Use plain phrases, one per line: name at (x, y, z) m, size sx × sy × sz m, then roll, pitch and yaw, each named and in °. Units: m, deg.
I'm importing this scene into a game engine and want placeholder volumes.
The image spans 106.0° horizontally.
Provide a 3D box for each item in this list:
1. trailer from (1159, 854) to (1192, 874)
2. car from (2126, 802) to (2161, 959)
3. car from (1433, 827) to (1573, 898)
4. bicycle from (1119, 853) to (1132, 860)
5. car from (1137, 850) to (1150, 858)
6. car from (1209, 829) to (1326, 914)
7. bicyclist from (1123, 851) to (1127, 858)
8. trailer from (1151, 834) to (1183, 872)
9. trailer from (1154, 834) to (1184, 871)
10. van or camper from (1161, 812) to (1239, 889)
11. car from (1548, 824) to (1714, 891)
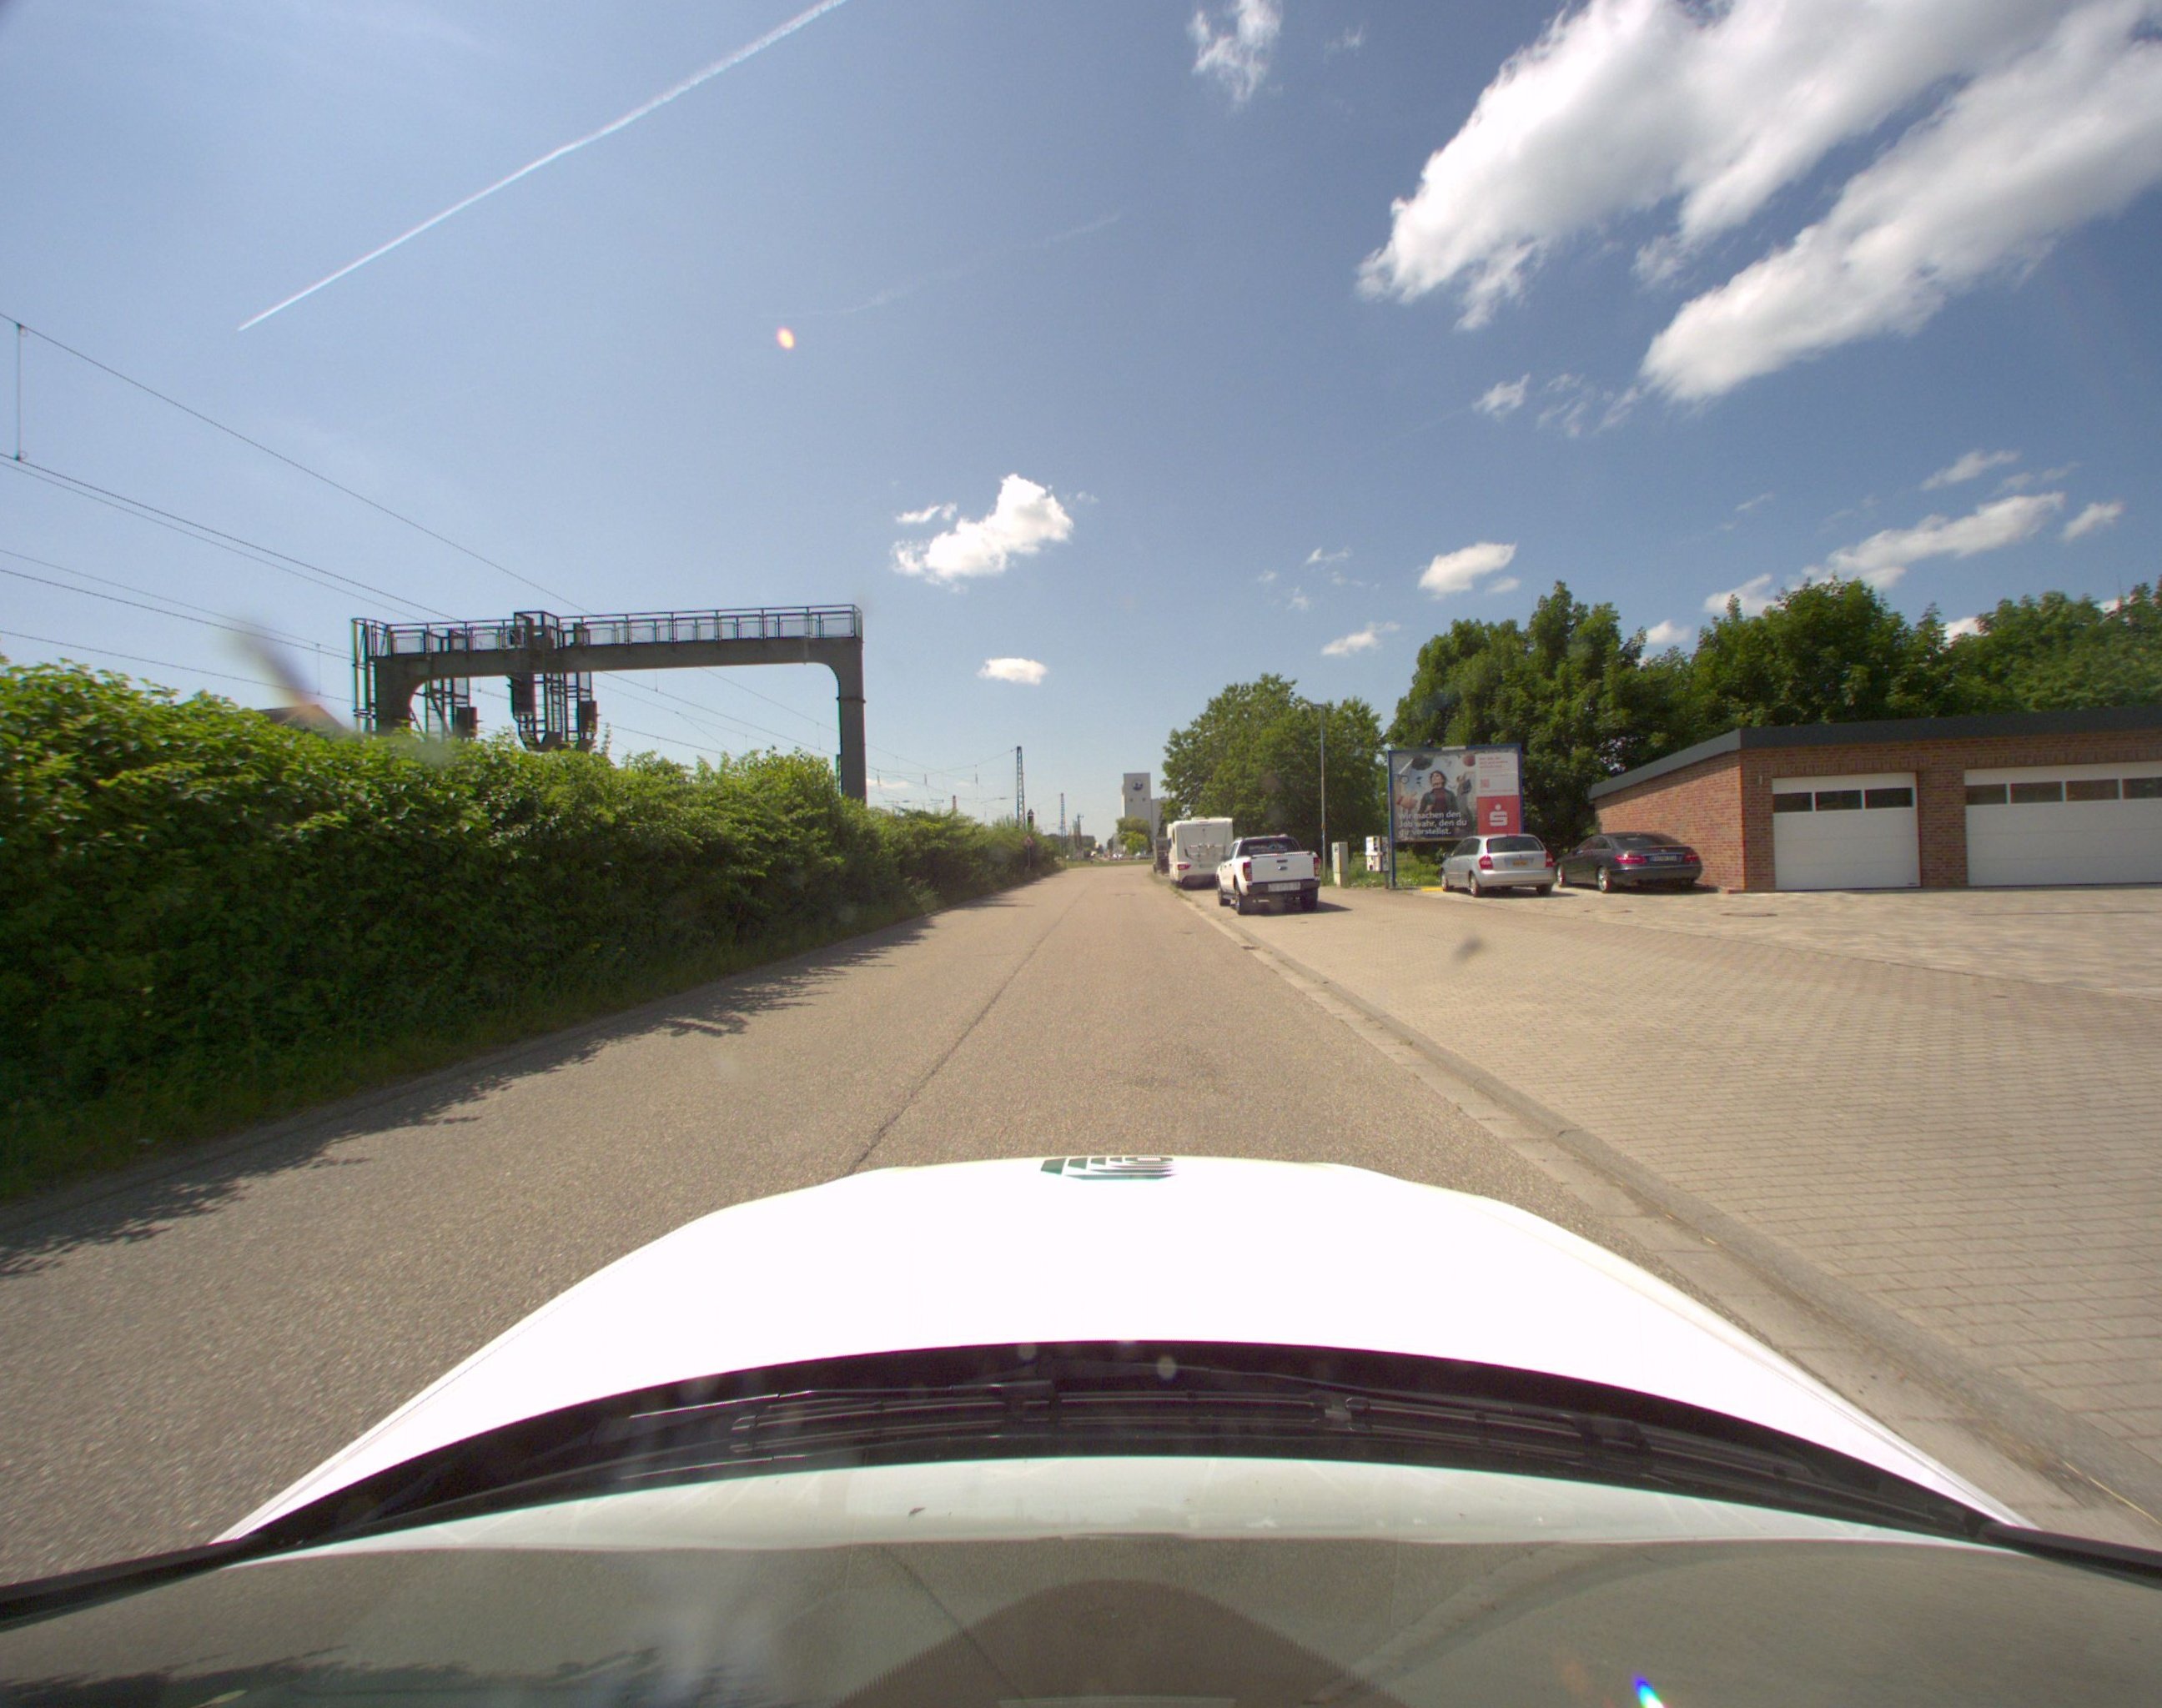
trailer at (6.218, 0.638, 53.962) m, size 1.995 × 1.123 × 4.495 m, roll -4°, pitch -1°, yaw 5°
car at (11.705, 0.164, 6.262) m, size 4.240 × 1.420 × 1.983 m, roll -2°, pitch 0°, yaw 11°
car at (10.305, 0.188, 20.218) m, size 1.894 × 1.480 × 4.011 m, roll -4°, pitch 0°, yaw 10°
bicycle at (7.503, 0.362, 136.938) m, size 2.118 × 1.164 × 0.665 m, roll -2°, pitch 0°, yaw 35°
car at (12.042, 0.001, 157.362) m, size 1.989 × 1.510 × 4.449 m, roll -2°, pitch 0°, yaw -3°
car at (4.574, 0.386, 20.811) m, size 1.840 × 1.814 × 5.427 m, roll -3°, pitch 0°, yaw 2°
bicyclist at (7.345, 0.069, 137.033) m, size 0.505 × 1.255 × 0.472 m, roll -2°, pitch 0°, yaw 35°
trailer at (6.215, -0.087, 59.413) m, size 1.911 × 2.508 × 4.744 m, roll -4°, pitch 0°, yaw 3°
trailer at (7.010, -0.146, 64.477) m, size 1.922 × 2.644 × 5.195 m, roll -4°, pitch 0°, yaw 8°
van or camper at (4.952, -0.133, 35.149) m, size 2.429 × 2.826 × 7.628 m, roll -3°, pitch 0°, yaw 2°
car at (12.813, 0.069, 19.281) m, size 1.735 × 1.376 × 4.011 m, roll -2°, pitch 0°, yaw 10°
